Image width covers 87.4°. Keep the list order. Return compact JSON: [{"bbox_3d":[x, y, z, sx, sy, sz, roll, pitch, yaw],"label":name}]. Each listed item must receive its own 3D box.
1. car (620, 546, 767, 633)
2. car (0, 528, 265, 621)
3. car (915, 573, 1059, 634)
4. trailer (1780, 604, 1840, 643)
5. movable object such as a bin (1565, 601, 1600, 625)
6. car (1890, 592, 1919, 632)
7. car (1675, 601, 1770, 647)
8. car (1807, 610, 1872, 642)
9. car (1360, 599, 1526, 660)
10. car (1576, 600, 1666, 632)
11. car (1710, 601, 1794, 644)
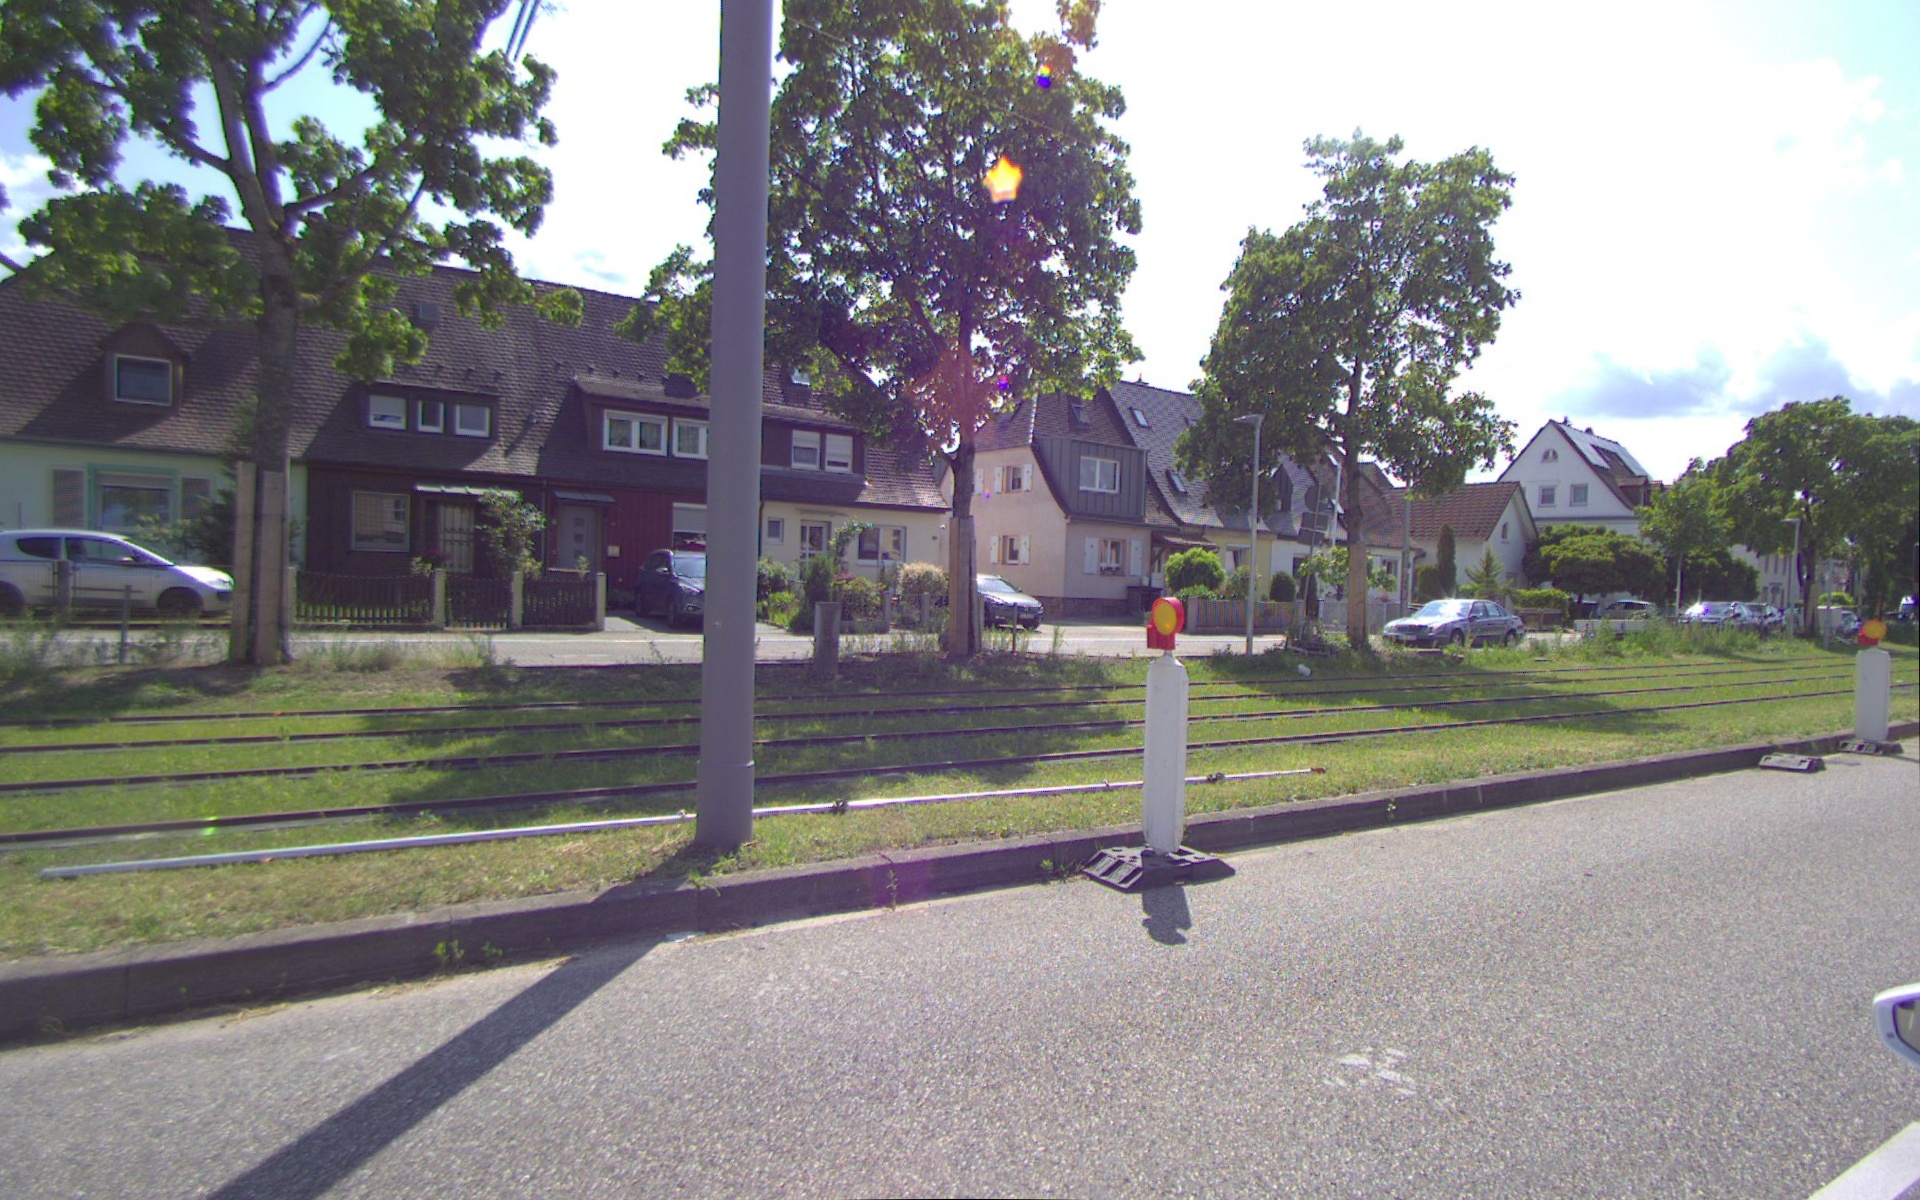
[{"bbox_3d":[-6.437,-0.282,23.915,2.044,1.861,4.442,1,2,-34],"label":"car"},{"bbox_3d":[-15.362,-0.443,18.619,4.001,1.538,1.718,1,1,-33],"label":"car"},{"bbox_3d":[0.686,0.065,28.812,1.906,1.544,4.442,1,2,-34],"label":"car"},{"bbox_3d":[39.971,1.092,47.203,3.344,1.700,1.552,1,2,-40],"label":"trailer"},{"bbox_3d":[35.356,0.731,57.047,1.079,1.347,1.349,1,1,-37],"label":"movable object such as a bin"},{"bbox_3d":[67.926,0.855,71.520,6.954,2.757,2.054,1,0,-44],"label":"car"},{"bbox_3d":[28.646,0.872,37.685,4.528,1.608,1.797,1,0,-39],"label":"car"},{"bbox_3d":[44.477,1.279,50.745,4.528,1.525,1.715,1,0,-39],"label":"car"},{"bbox_3d":[12.761,0.757,26.438,4.764,1.425,1.807,1,1,-35],"label":"car"},{"bbox_3d":[37.644,0.888,57.268,1.781,1.592,3.951,1,1,-41],"label":"car"},{"bbox_3d":[32.576,0.924,41.292,4.526,1.659,1.682,1,0,-38],"label":"car"}]
